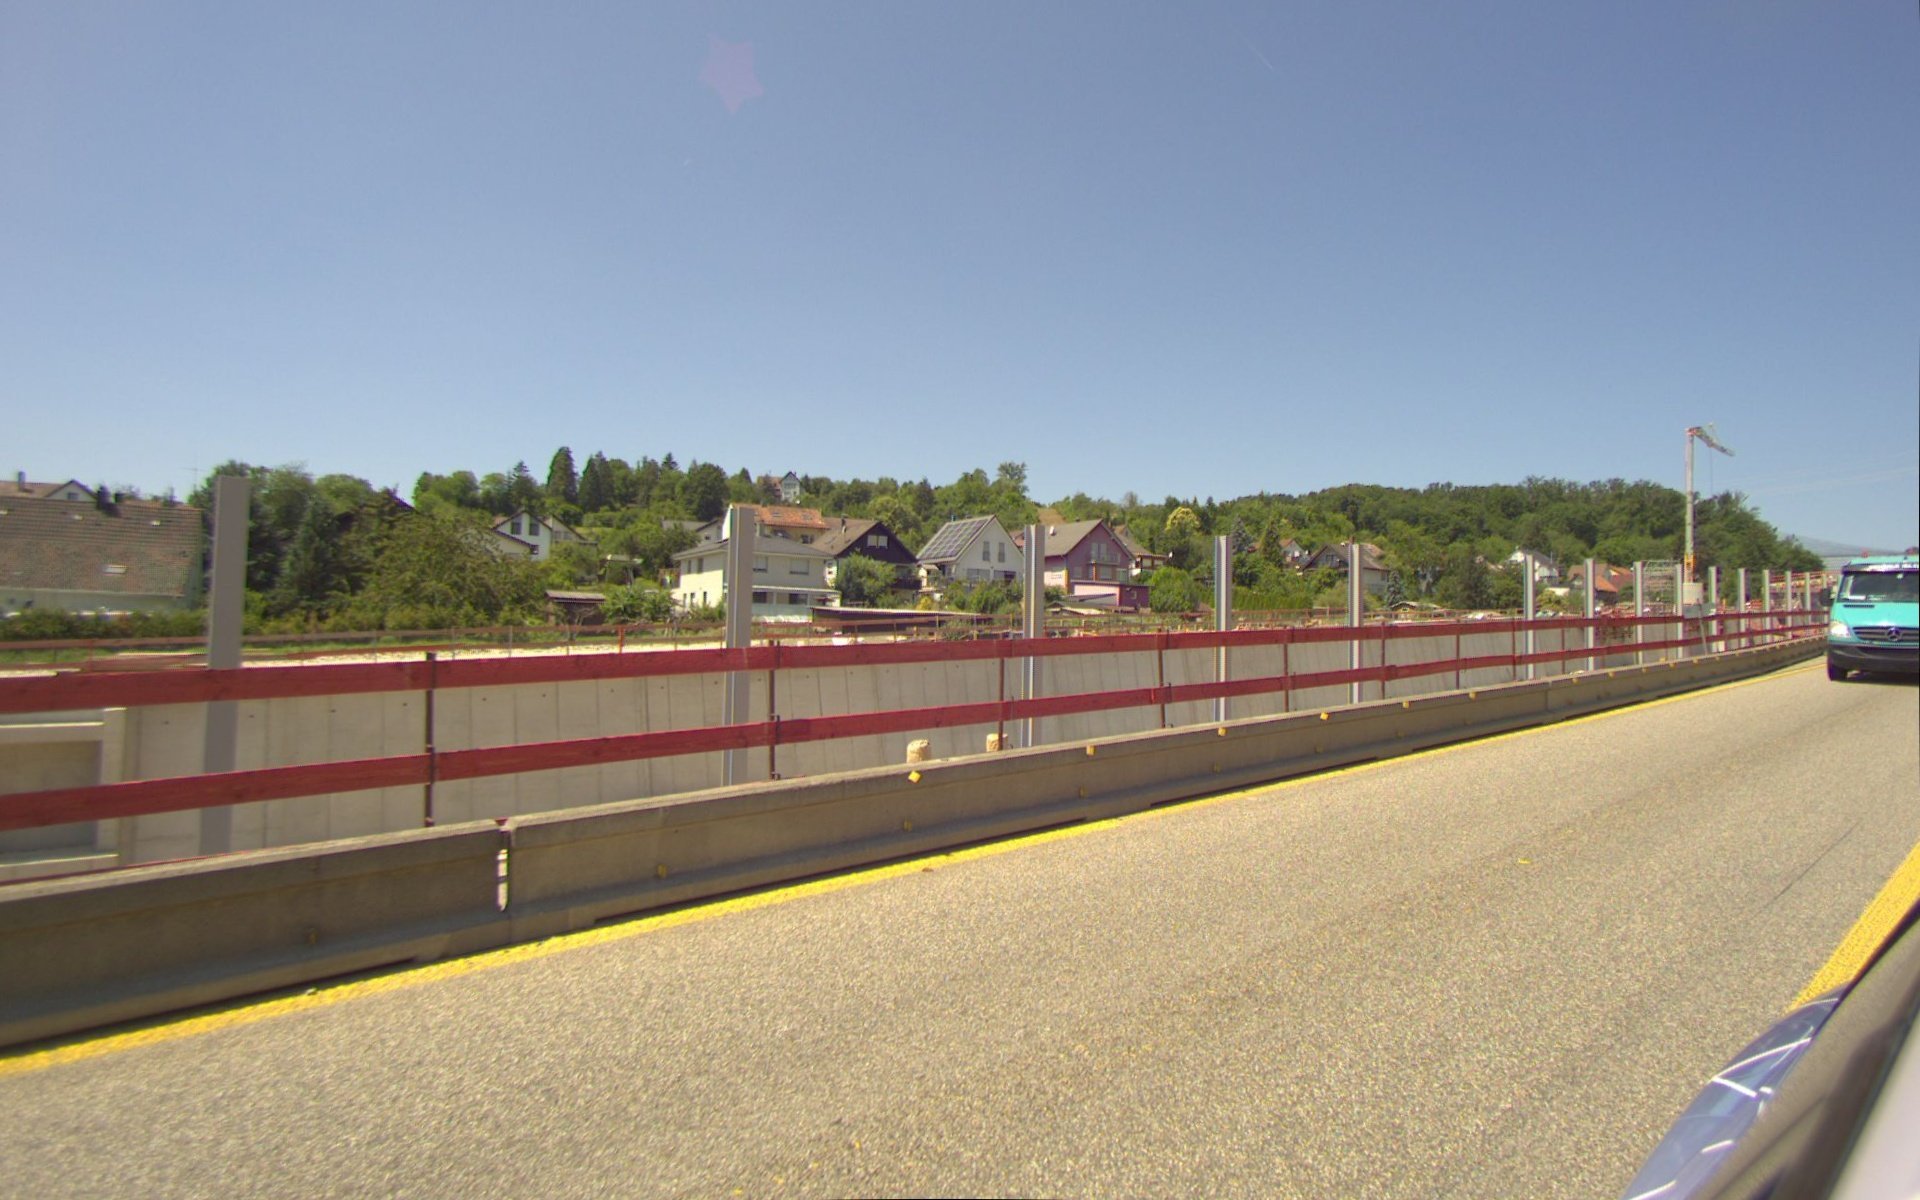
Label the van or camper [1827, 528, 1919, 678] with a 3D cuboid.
[{"bbox_3d":[18.848,0.068,19.564,7.537,2.504,2.096,0,0,-41],"label":"van or camper"}]
